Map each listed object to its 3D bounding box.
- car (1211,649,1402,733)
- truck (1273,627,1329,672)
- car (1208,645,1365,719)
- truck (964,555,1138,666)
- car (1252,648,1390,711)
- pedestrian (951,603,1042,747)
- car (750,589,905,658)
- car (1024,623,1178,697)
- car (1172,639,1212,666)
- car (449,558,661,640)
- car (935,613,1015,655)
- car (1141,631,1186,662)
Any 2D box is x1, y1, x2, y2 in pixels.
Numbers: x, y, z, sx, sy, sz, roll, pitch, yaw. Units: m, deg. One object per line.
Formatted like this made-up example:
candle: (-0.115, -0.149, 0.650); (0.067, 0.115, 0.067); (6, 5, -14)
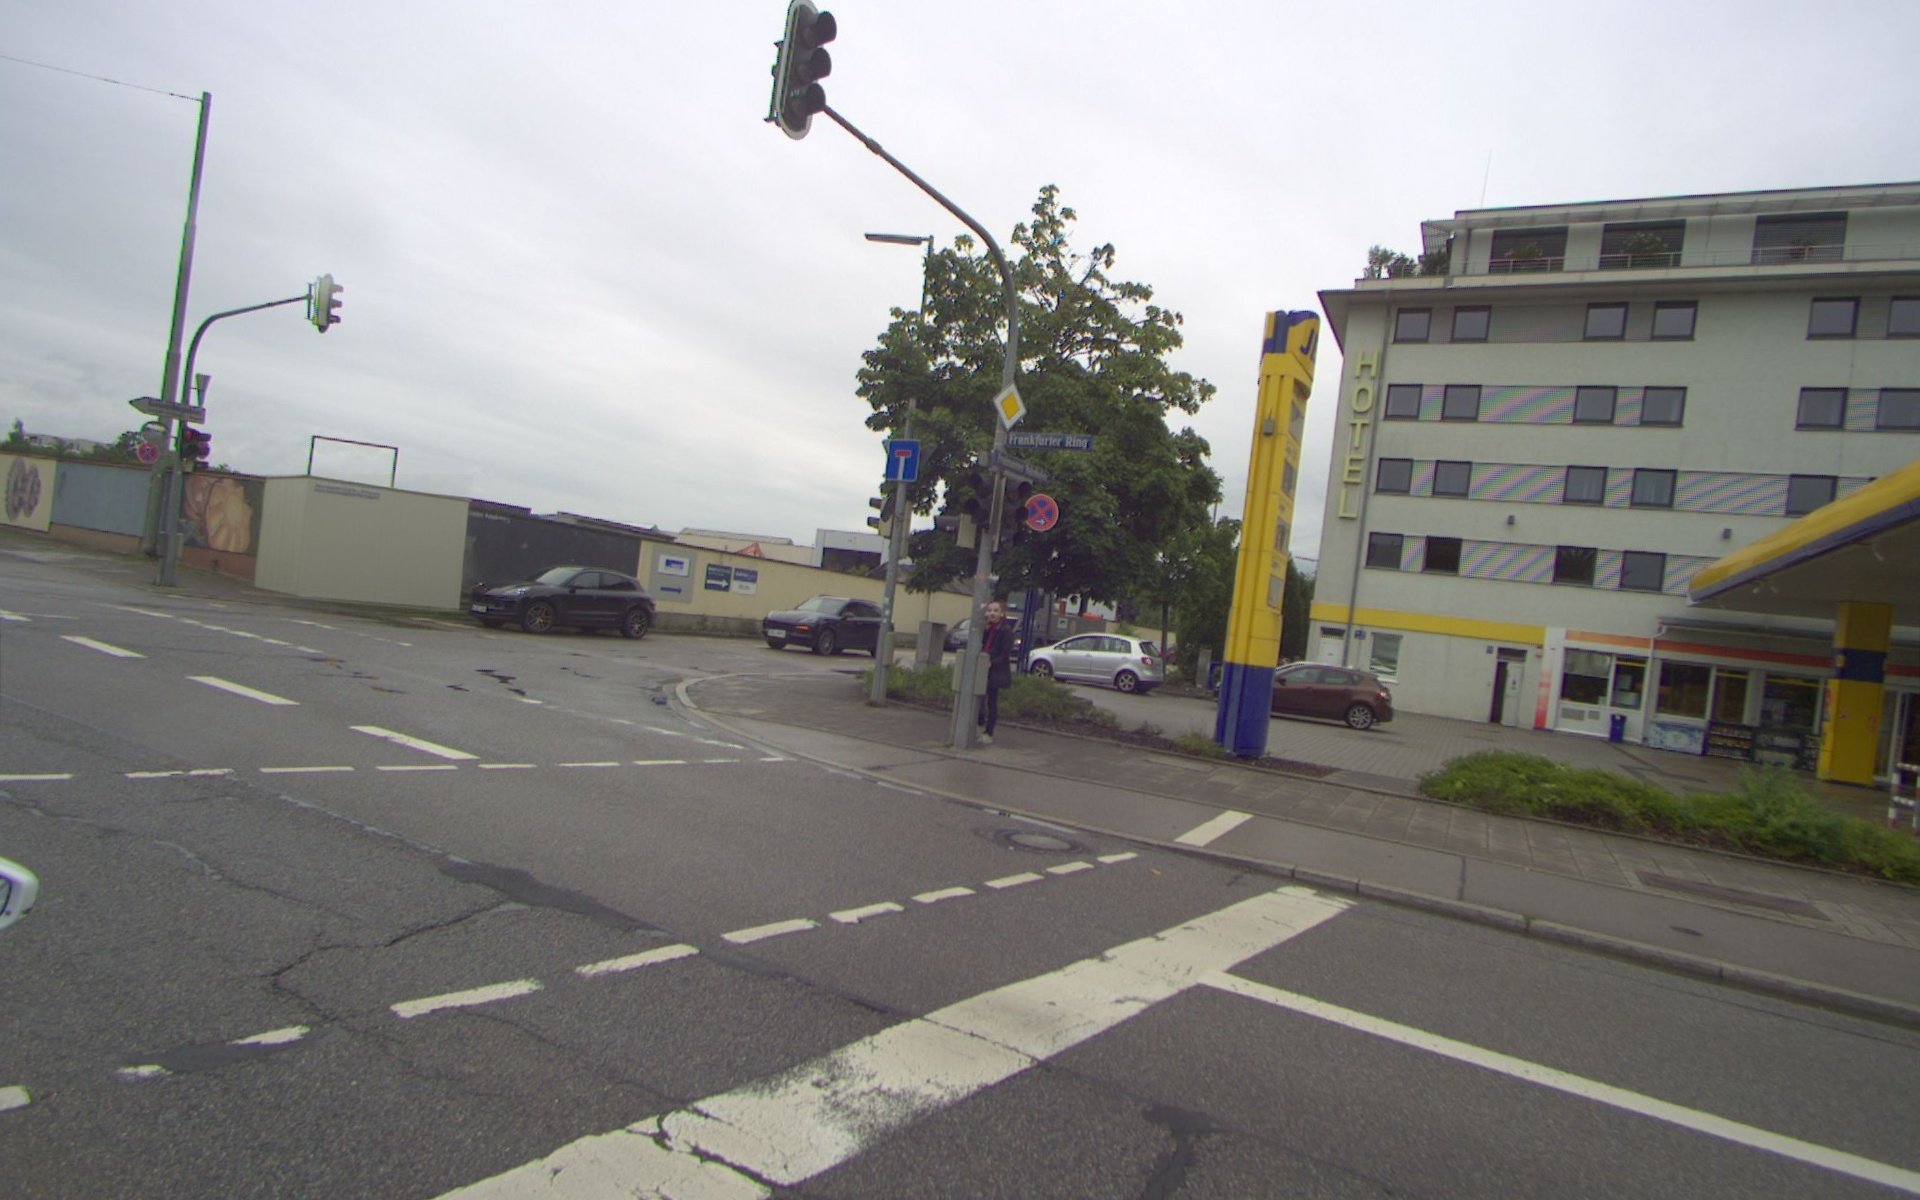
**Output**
car: (8.678, 2.262, 25.475); (4.281, 1.400, 1.705); (8, -1, 18)
truck: (35.217, 5.216, 103.541); (2.830, 3.878, 11.917); (7, 0, 30)
car: (9.354, 2.338, 28.894); (3.910, 1.503, 1.627); (7, -1, 29)
truck: (4.447, 0.725, 44.784); (2.566, 3.902, 11.917); (7, 0, 30)
car: (12.322, 2.722, 34.344); (4.120, 1.495, 1.908); (7, -2, 27)
pedestrian: (0.454, 0.898, 12.384); (0.675, 1.636, 0.803); (7, 3, 27)
car: (-3.769, 0.733, 29.436); (1.966, 1.551, 4.625); (7, 0, 30)
car: (4.007, 1.715, 28.716); (3.907, 1.503, 1.628); (7, -1, 26)
car: (18.458, 4.185, 79.943); (1.841, 1.725, 4.101); (7, -2, 29)
car: (-9.510, 0.041, 23.968); (1.966, 1.445, 4.257); (7, 0, 30)
car: (0.735, 1.570, 45.300); (1.734, 1.494, 3.993); (7, 0, 31)
car: (14.515, 3.338, 71.711); (1.841, 1.725, 4.101); (7, -2, 29)
